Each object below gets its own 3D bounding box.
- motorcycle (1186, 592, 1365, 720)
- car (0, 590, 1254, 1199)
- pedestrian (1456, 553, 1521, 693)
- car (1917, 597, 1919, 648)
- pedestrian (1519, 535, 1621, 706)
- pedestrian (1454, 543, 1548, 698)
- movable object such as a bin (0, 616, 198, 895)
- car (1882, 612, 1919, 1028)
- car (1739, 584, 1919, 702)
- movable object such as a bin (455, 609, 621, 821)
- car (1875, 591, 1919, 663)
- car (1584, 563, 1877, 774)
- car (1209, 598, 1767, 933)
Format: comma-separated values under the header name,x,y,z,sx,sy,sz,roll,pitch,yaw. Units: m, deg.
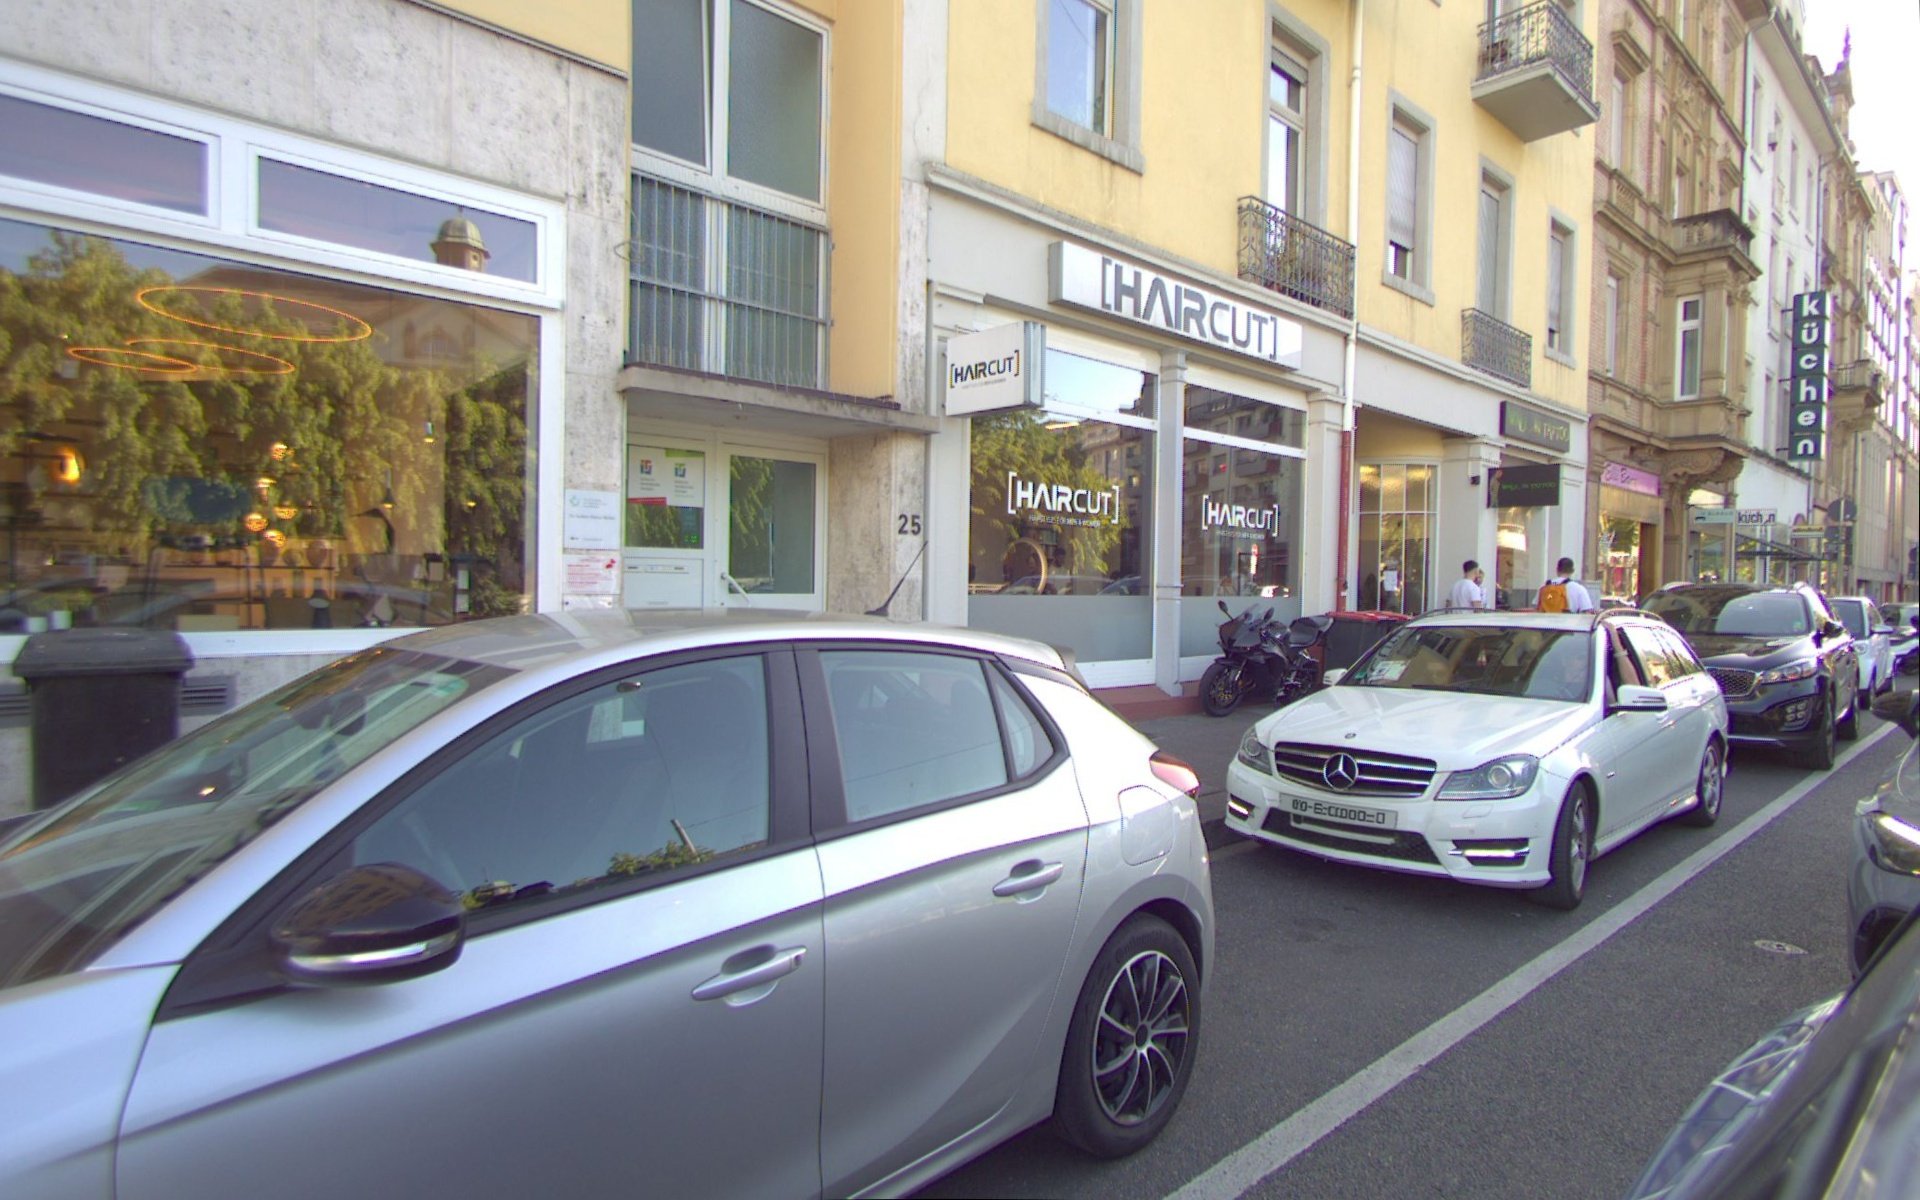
name,x,y,z,sx,sy,sz,roll,pitch,yaw
motorcycle,3.313,0.521,10.507,2.073,1.144,0.735,-1,5,-41
car,-0.994,0.713,2.310,3.625,1.455,1.585,-1,0,-43
pedestrian,7.251,0.298,13.877,0.627,1.859,0.760,0,0,41
car,26.622,0.570,26.930,3.306,1.334,1.459,-1,0,-42
pedestrian,6.962,0.212,11.545,0.809,1.845,0.967,0,1,44
pedestrian,6.855,0.252,12.866,0.961,1.900,0.532,0,0,18
movable object such as a bin,-3.679,0.597,4.311,0.639,1.036,0.737,0,0,-41
car,5.409,0.748,4.379,4.397,1.385,1.767,-1,1,-43
car,12.783,0.544,14.855,2.945,1.542,1.582,-1,0,-41
movable object such as a bin,-2.315,0.579,5.540,0.639,1.036,0.737,0,0,-41
car,21.910,0.562,22.811,3.736,1.509,1.691,-1,0,-45
car,8.021,0.528,10.369,4.338,1.711,1.802,-1,0,-45
car,3.544,0.706,6.390,4.301,1.389,1.671,-1,0,-41
